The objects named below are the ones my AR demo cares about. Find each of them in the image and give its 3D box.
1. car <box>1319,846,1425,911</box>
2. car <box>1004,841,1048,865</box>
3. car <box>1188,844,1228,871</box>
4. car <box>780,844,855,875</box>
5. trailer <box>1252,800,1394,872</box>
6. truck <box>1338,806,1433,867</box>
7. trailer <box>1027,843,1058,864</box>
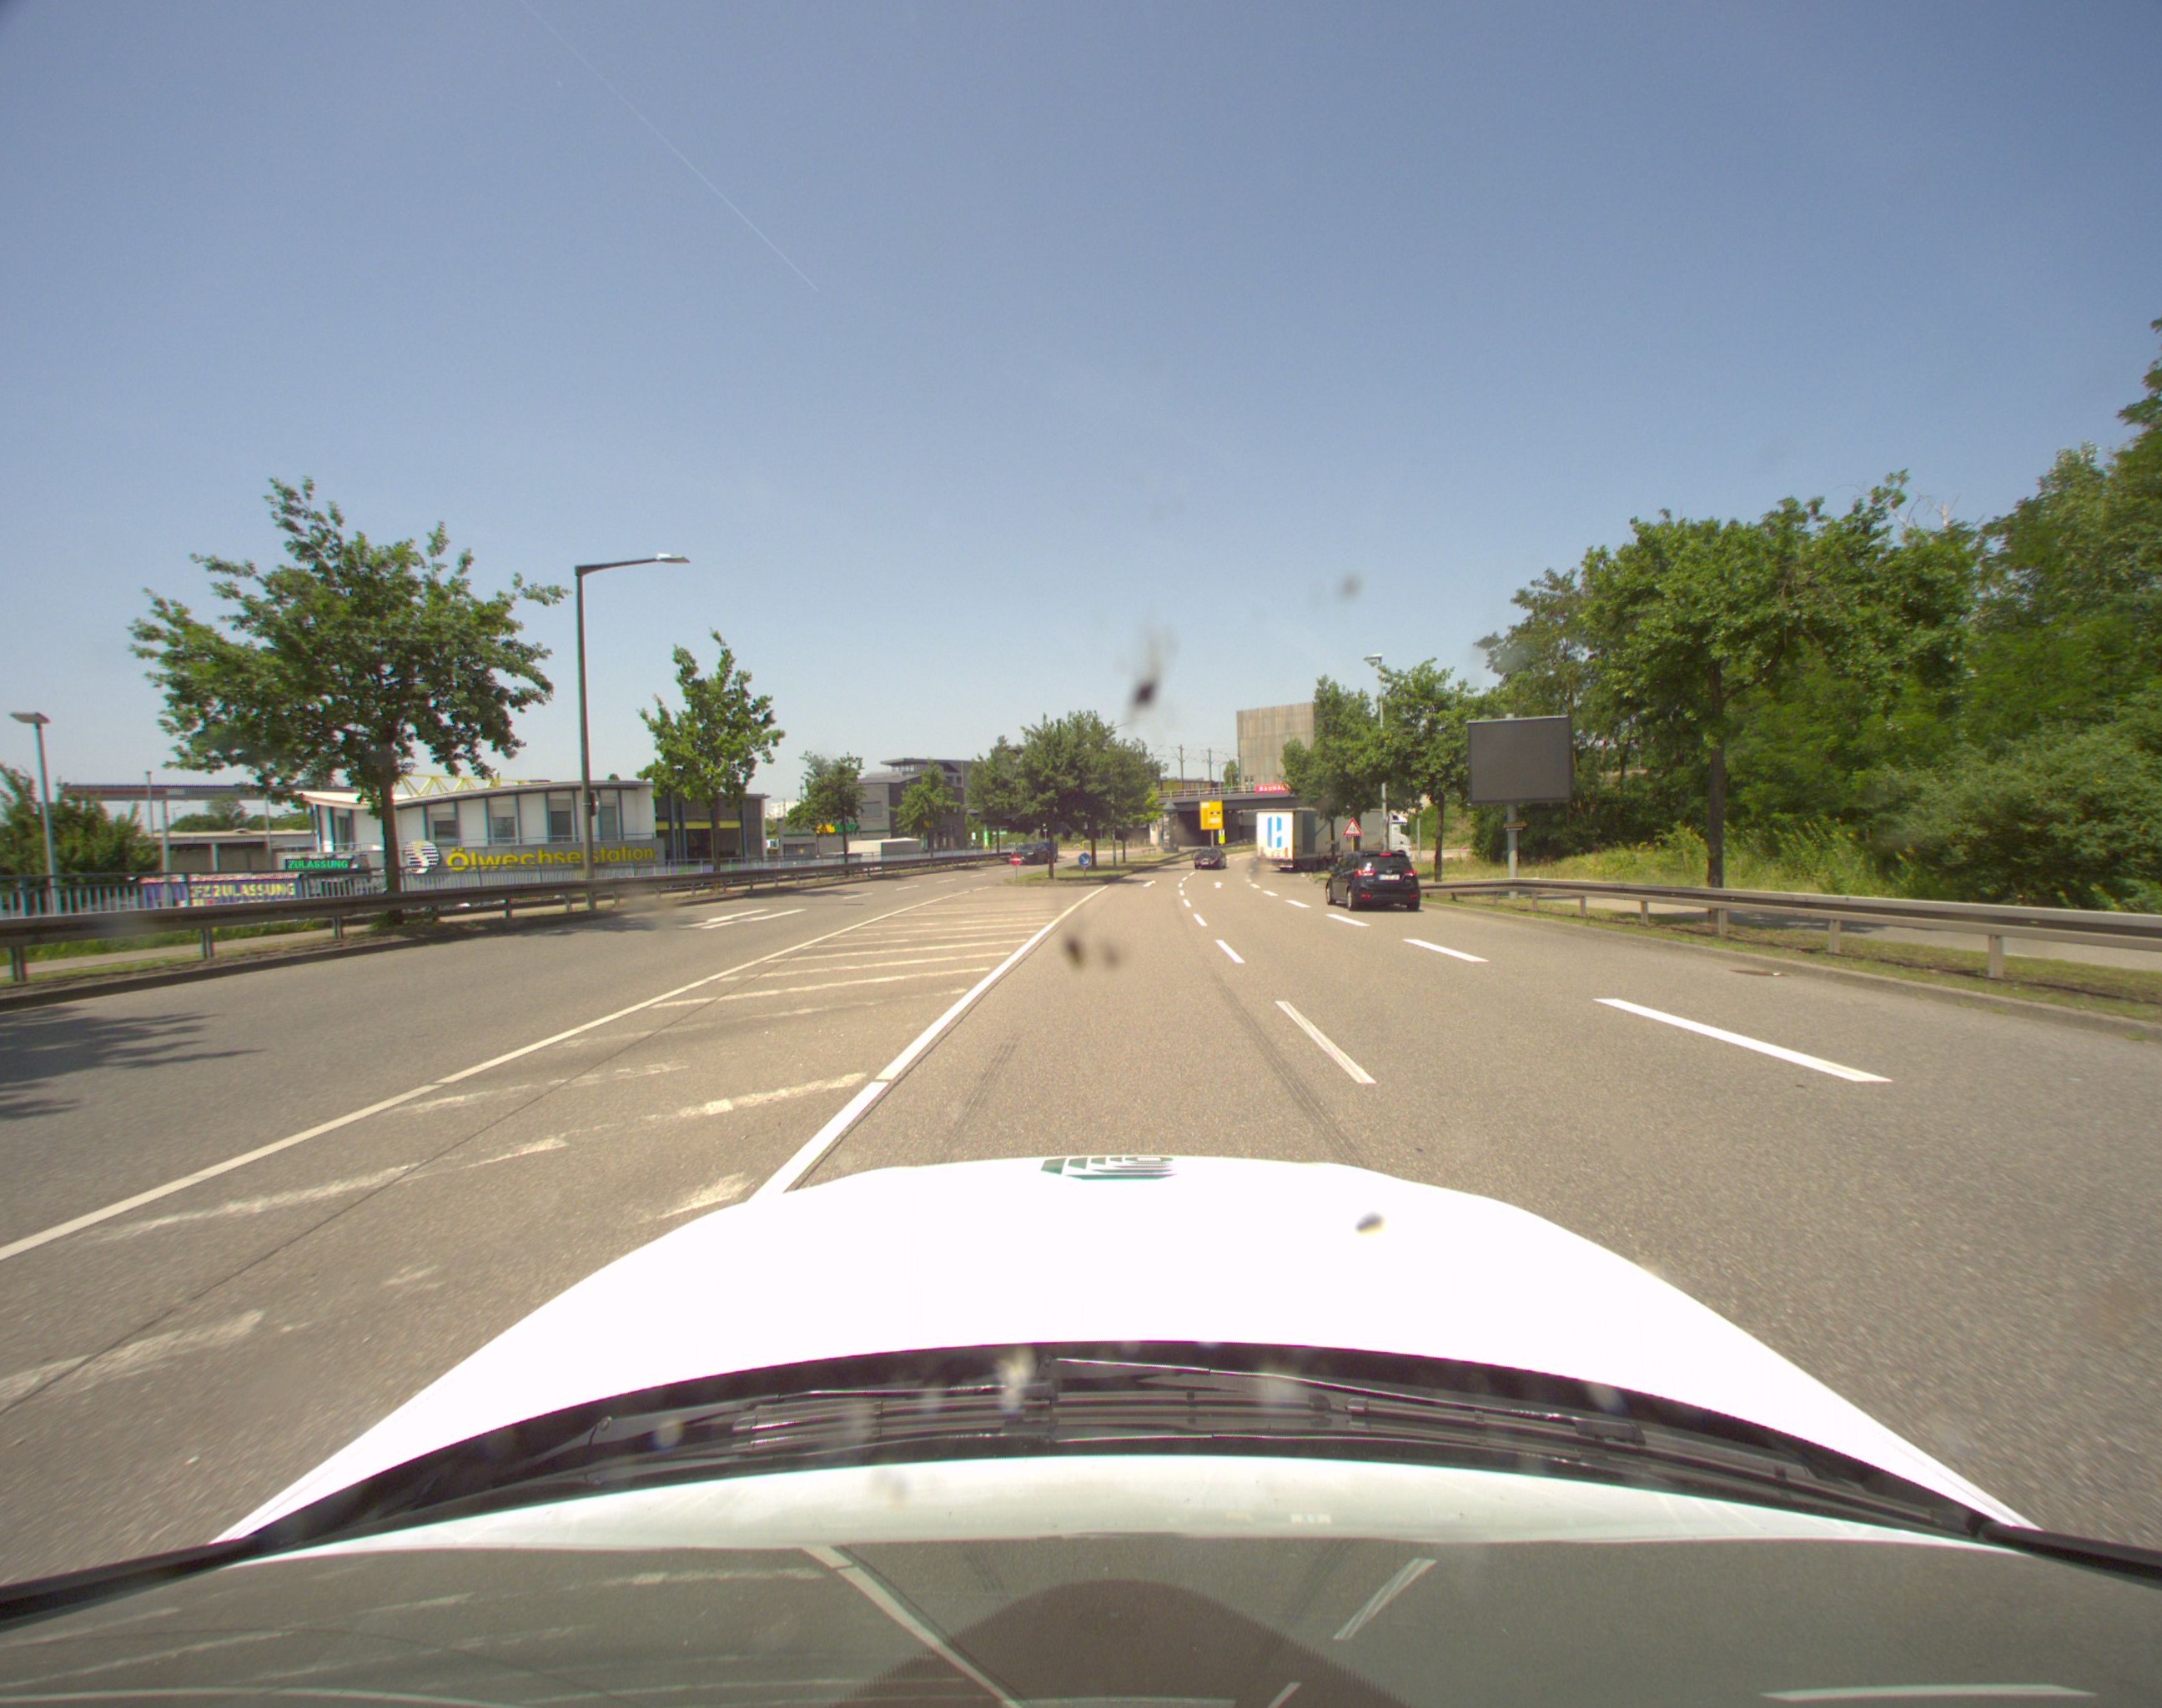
[{"bbox_3d":[7.875,0.621,22.411,1.758,1.599,4.083,-1,0,5],"label":"car"},{"bbox_3d":[-4.141,-0.073,62.336,1.900,1.652,4.426,-2,0,16],"label":"car"},{"bbox_3d":[8.658,0.188,55.195,1.941,1.633,4.301,0,2,18],"label":"car"},{"bbox_3d":[-14.878,0.264,46.235,1.885,1.569,4.656,-3,0,12],"label":"car"},{"bbox_3d":[16.919,-1.227,55.719,3.050,4.367,14.864,3,3,42],"label":"trailer"},{"bbox_3d":[22.605,-1.269,60.469,6.086,4.367,3.063,0,2,-24],"label":"truck"},{"bbox_3d":[-3.071,-0.047,66.080,1.493,1.615,3.322,-2,0,16],"label":"trailer"}]
